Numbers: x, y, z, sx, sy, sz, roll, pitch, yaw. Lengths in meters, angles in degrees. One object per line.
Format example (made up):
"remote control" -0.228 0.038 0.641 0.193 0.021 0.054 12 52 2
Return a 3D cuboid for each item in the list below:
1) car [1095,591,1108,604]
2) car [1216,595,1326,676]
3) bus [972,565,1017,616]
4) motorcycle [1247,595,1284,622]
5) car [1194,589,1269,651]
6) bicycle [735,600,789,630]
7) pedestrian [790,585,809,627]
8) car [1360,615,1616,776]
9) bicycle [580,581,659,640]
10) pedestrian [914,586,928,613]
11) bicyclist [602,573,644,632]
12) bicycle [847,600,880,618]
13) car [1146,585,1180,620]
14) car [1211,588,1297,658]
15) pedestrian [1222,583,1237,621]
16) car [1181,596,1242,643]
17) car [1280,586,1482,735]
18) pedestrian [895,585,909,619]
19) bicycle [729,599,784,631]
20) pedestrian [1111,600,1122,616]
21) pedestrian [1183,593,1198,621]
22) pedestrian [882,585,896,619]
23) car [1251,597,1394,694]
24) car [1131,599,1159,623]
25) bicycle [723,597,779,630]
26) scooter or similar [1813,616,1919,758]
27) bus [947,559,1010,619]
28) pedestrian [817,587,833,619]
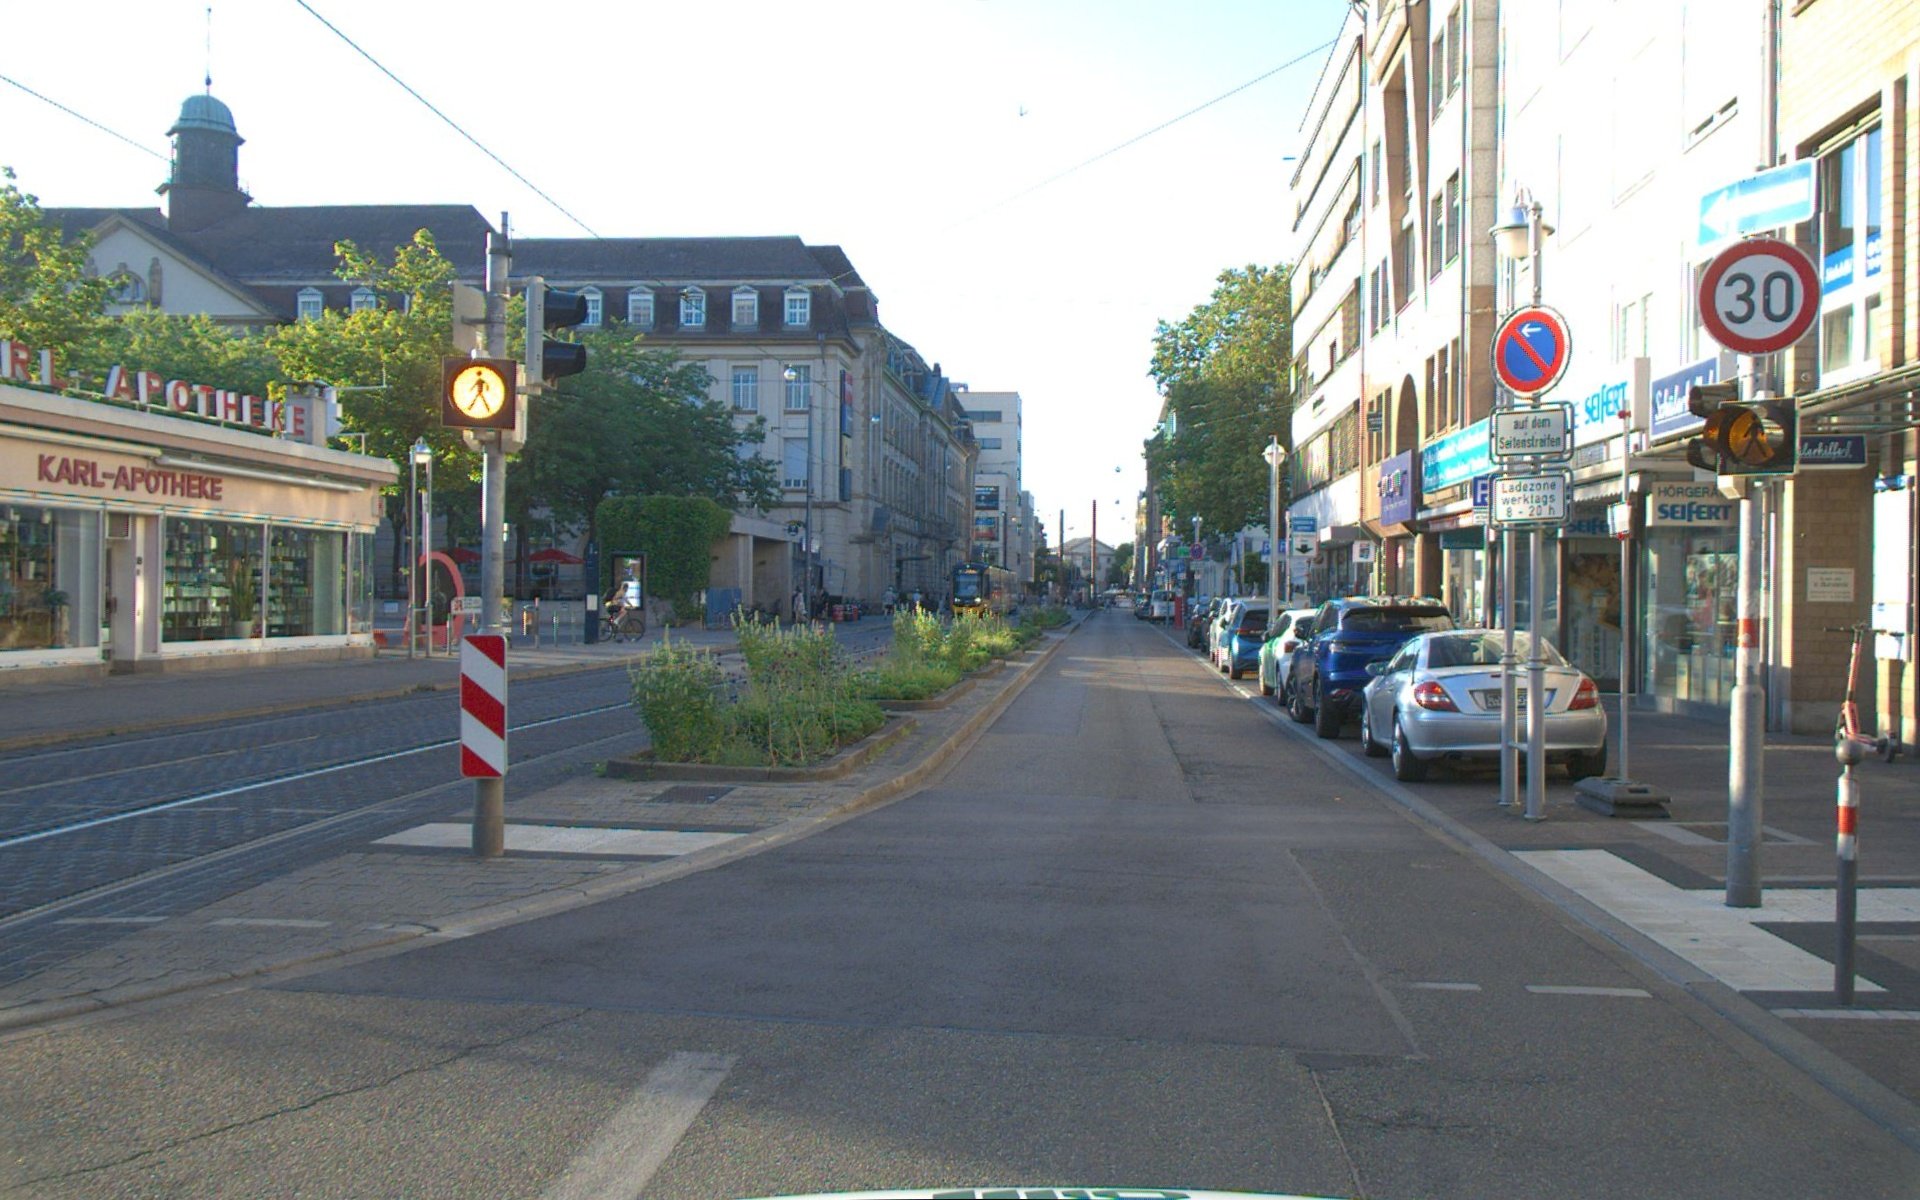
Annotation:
"car" 20.514 -0.355 239.592 1.723 1.859 3.572 0 -2 5
"car" 6.508 0.703 35.015 1.771 1.579 4.839 1 0 4
"bus" 2.635 -0.762 124.541 2.762 3.688 8.295 0 1 6
"motorcycle" 13.914 0.377 75.454 0.556 1.165 2.283 1 0 -20
"car" 7.683 0.533 47.121 1.738 1.565 4.581 0 1 5
"bicycle" -8.445 0.644 70.682 2.194 1.253 0.585 0 -1 5
"pedestrian" -7.492 0.279 77.271 0.708 1.968 0.793 0 -2 9
"car" 4.864 0.809 15.747 1.638 1.305 4.066 0 0 8
"bicycle" -10.411 0.322 50.577 2.344 1.770 0.595 1 0 -39
"pedestrian" -2.565 -0.006 107.860 0.797 1.737 0.762 0 -2 6
"bicyclist" -10.323 0.075 50.683 0.923 1.807 0.957 0 0 -39
"bicycle" -6.186 0.578 105.966 2.054 1.168 0.574 0 -2 0
"car" 12.153 0.147 99.093 1.875 2.016 4.423 0 0 5
"car" 7.269 0.539 41.263 1.778 1.613 4.726 1 0 6
"pedestrian" 12.635 0.114 77.439 0.664 1.747 0.655 0 -2 8
"car" 8.202 0.618 54.264 1.620 1.404 4.343 -3 0 5
"car" 5.077 0.665 20.475 1.727 1.633 4.290 0 0 5
"pedestrian" -3.294 0.113 93.652 0.717 1.873 0.715 0 -1 5
"bicycle" -8.503 0.622 69.008 2.194 1.277 0.580 0 -2 5
"pedestrian" 20.272 1.034 214.046 1.207 1.962 1.019 1 0 -11
"pedestrian" 14.776 0.440 106.083 0.770 1.782 0.894 1 -2 -2
"pedestrian" -4.040 0.124 93.600 0.678 1.880 0.662 0 -2 5
"car" 5.841 0.726 27.075 1.694 1.460 4.154 0 -1 4
"car" 13.841 0.839 123.944 1.951 1.791 4.423 0 0 5
"bicycle" -8.521 0.562 67.476 2.150 1.323 0.580 0 -2 5
"scooter or similar" 8.475 0.772 15.299 0.450 1.204 1.573 0 1 4
"bus" 1.409 -0.712 111.915 2.762 3.715 17.083 0 0 6
"pedestrian" -7.329 0.170 89.560 0.703 1.674 0.657 2 0 -17
